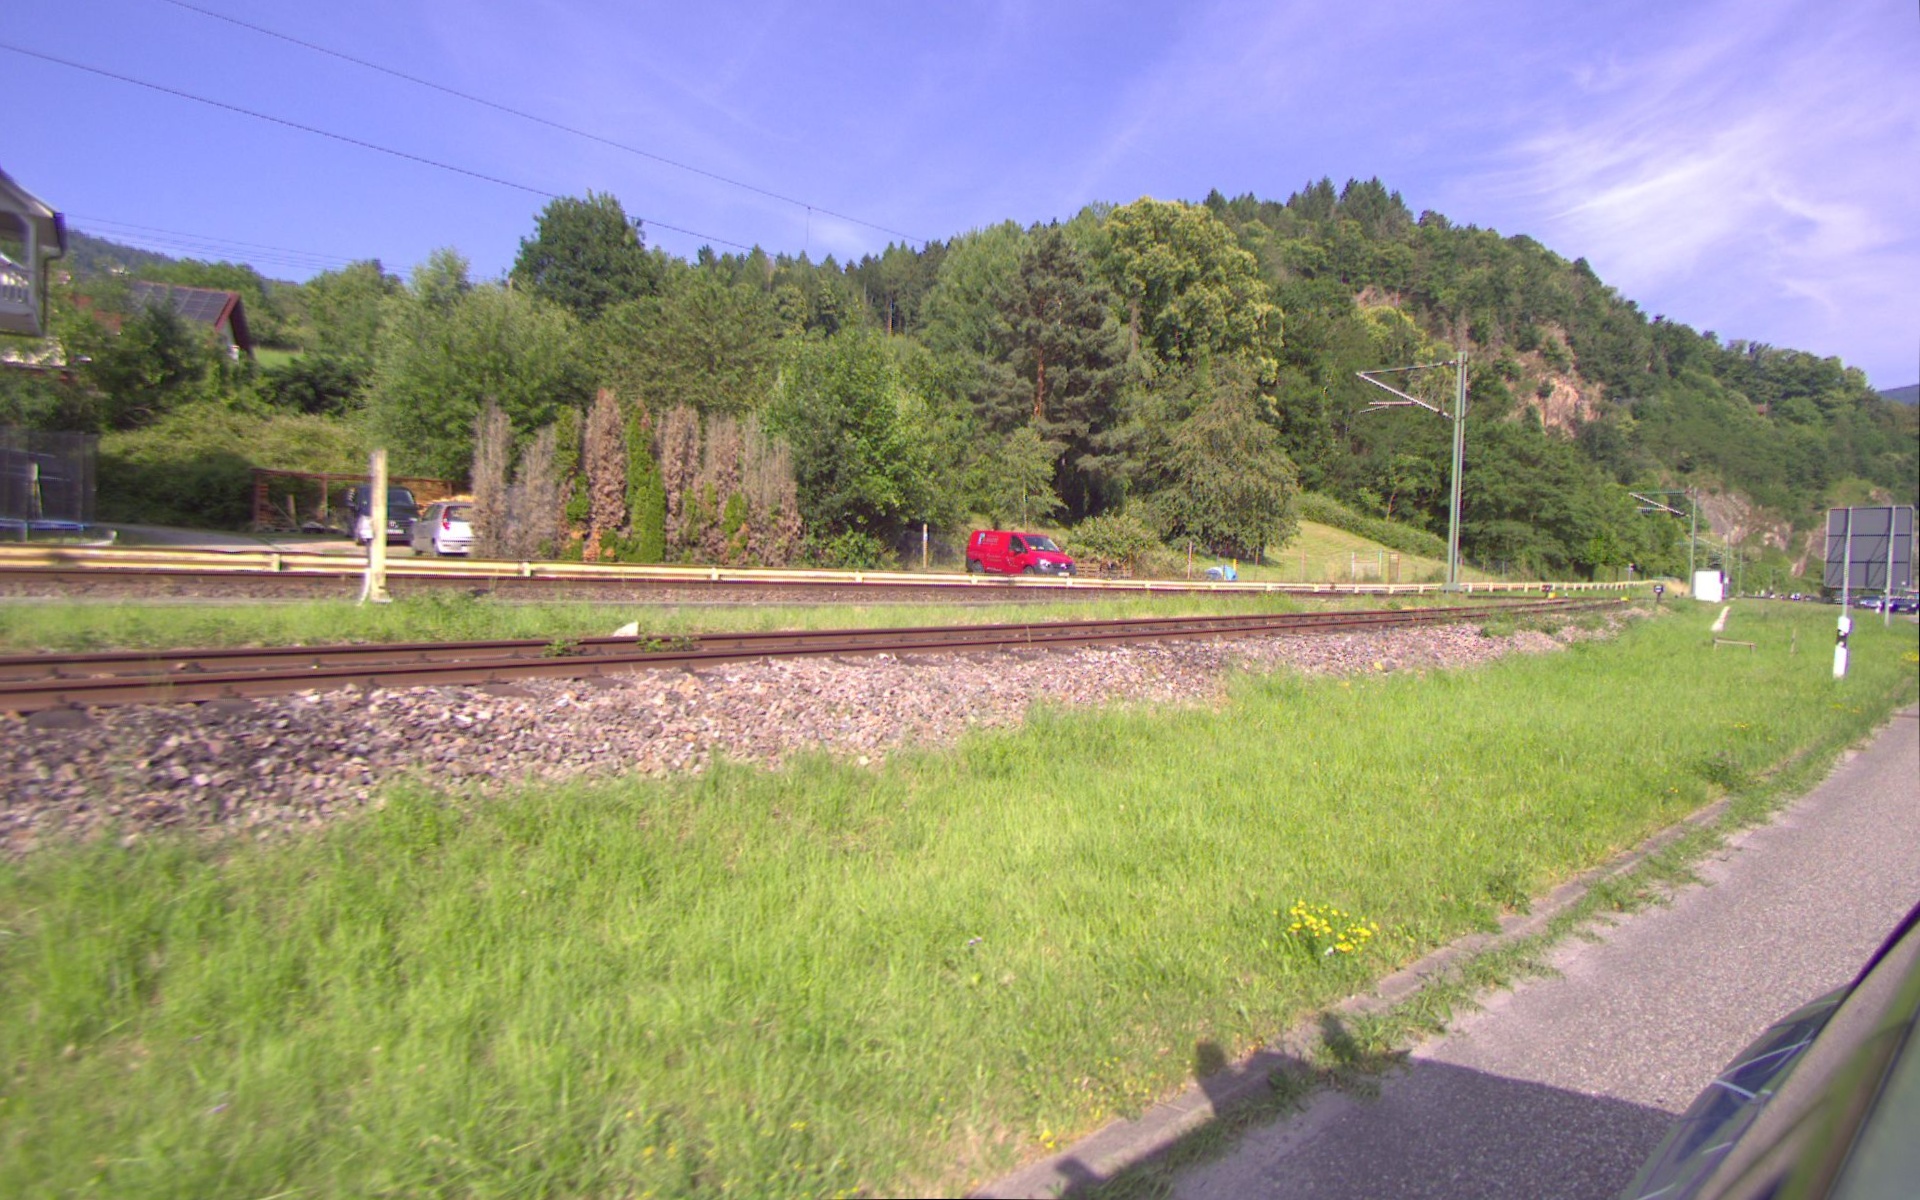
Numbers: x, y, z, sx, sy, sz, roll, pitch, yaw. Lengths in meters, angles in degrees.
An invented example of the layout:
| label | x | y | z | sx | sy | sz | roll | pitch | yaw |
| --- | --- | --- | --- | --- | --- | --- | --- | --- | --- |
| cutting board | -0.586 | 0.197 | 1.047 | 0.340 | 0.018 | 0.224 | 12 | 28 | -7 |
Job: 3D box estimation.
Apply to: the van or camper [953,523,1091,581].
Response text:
| label | x | y | z | sx | sy | sz | roll | pitch | yaw |
| --- | --- | --- | --- | --- | --- | --- | --- | --- | --- |
| van or camper | 2.240 | -1.856 | 38.233 | 2.082 | 1.952 | 5.434 | 1 | 4 | -38 |

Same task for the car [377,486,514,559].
| label | x | y | z | sx | sy | sz | roll | pitch | yaw |
| --- | --- | --- | --- | --- | --- | --- | --- | --- | --- |
| car | -12.791 | -1.915 | 25.060 | 1.966 | 1.548 | 3.993 | 2 | 3 | -43 |

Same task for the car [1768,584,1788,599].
| label | x | y | z | sx | sy | sz | roll | pitch | yaw |
| --- | --- | --- | --- | --- | --- | --- | --- | --- | --- |
| car | 122.355 | -1.266 | 151.301 | 1.994 | 2.038 | 3.939 | 5 | 4 | 42 |

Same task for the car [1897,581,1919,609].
| label | x | y | z | sx | sy | sz | roll | pitch | yaw |
| --- | --- | --- | --- | --- | --- | --- | --- | --- | --- |
| car | 75.485 | -0.367 | 79.930 | 1.995 | 2.038 | 3.936 | 6 | 4 | 44 |

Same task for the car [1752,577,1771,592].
| label | x | y | z | sx | sy | sz | roll | pitch | yaw |
| --- | --- | --- | --- | --- | --- | --- | --- | --- | --- |
| car | 115.036 | -2.200 | 145.222 | 1.991 | 2.038 | 3.944 | 5 | 4 | 38 |

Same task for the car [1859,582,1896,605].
| label | x | y | z | sx | sy | sz | roll | pitch | yaw |
| --- | --- | --- | --- | --- | --- | --- | --- | --- | --- |
| car | 86.255 | -0.610 | 95.203 | 1.989 | 2.038 | 3.949 | 5 | 3 | 35 |

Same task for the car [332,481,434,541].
| label | x | y | z | sx | sy | sz | roll | pitch | yaw |
| --- | --- | --- | --- | --- | --- | --- | --- | --- | --- |
| car | -18.689 | -2.859 | 32.719 | 1.966 | 1.704 | 3.993 | 2 | 3 | -43 |
